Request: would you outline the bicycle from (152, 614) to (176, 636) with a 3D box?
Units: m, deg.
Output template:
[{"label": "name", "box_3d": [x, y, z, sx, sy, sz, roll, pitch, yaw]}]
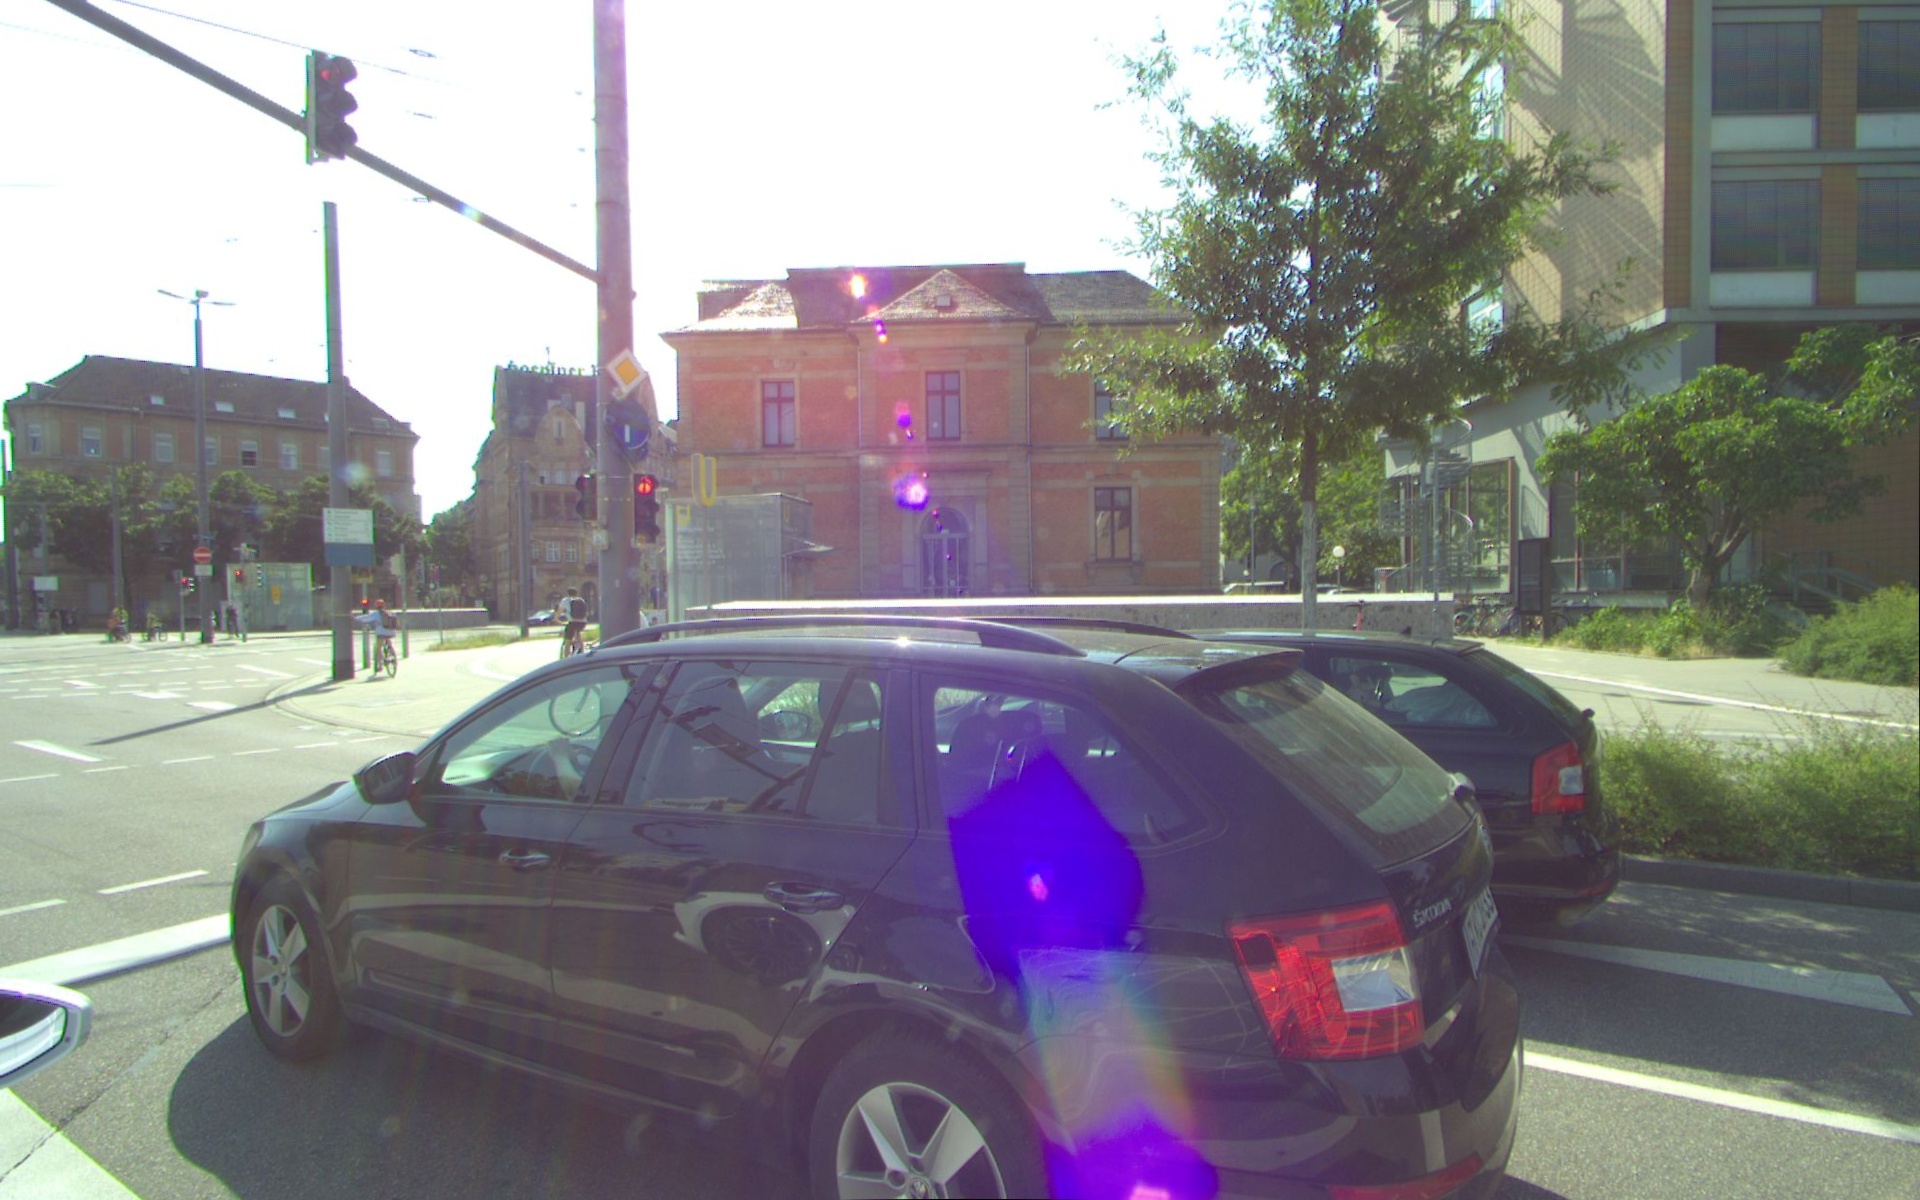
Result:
[{"label": "bicycle", "box_3d": [-41.390, 1.301, 52.093, 0.919, 1.083, 2.819, 1, -1, -38]}]

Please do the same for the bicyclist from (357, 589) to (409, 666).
[{"label": "bicyclist", "box_3d": [-13.212, 0.612, 22.939, 0.864, 1.692, 0.710, 0, 3, 40]}]

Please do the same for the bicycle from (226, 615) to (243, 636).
[{"label": "bicycle", "box_3d": [-39.117, 1.352, 53.996, 0.660, 1.083, 2.447, 1, -1, -35]}]

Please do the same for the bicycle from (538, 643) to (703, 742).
[{"label": "bicycle", "box_3d": [-4.302, 1.142, 12.714, 1.887, 1.029, 0.714, -3, 2, -24]}]

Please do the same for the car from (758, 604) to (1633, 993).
[{"label": "car", "box_3d": [1.094, 0.792, 5.619, 4.332, 1.447, 1.699, 0, -3, 31]}]

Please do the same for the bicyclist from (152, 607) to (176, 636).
[{"label": "bicyclist", "box_3d": [-41.214, 1.101, 51.844, 0.919, 1.470, 1.242, 1, -1, -38]}]

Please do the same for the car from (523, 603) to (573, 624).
[{"label": "car", "box_3d": [-31.899, 1.055, 77.634, 1.607, 1.604, 3.998, -1, -1, 10]}]

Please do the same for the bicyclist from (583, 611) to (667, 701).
[{"label": "bicyclist", "box_3d": [-4.260, 0.691, 12.729, 0.901, 1.043, 0.714, -3, 2, -24]}]

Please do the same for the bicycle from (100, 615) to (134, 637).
[{"label": "bicycle", "box_3d": [-41.935, 1.319, 49.810, 2.717, 1.083, 0.922, -2, -2, 42]}]

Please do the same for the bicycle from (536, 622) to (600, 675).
[{"label": "bicycle", "box_3d": [-8.281, 1.007, 21.108, 0.708, 1.028, 2.006, -2, -1, -37]}]

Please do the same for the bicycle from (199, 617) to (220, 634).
[{"label": "bicycle", "box_3d": [-39.849, 1.331, 53.164, 1.567, 0.877, 0.498, 0, -1, 38]}]

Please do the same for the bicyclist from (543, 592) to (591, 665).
[{"label": "bicyclist", "box_3d": [-8.299, 0.607, 21.142, 0.708, 1.507, 0.943, 1, -2, -37]}]

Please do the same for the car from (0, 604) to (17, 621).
[{"label": "car", "box_3d": [-117.101, 1.497, 122.781, 2.094, 2.040, 3.962, -1, 0, -43]}]

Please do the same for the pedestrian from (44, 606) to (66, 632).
[{"label": "pedestrian", "box_3d": [-51.220, 1.060, 56.662, 0.699, 1.451, 0.614, 0, -1, -5]}]

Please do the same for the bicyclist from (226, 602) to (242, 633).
[{"label": "bicyclist", "box_3d": [-39.046, 0.931, 53.895, 0.660, 1.645, 0.777, 1, 0, -35]}]

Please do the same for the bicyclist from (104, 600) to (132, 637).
[{"label": "bicyclist", "box_3d": [-41.859, 0.928, 49.762, 1.040, 1.843, 0.922, -1, -2, 42]}]

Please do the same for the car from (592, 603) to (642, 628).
[{"label": "car", "box_3d": [-19.242, 0.827, 56.346, 1.639, 1.331, 3.452, -1, 0, -1]}]

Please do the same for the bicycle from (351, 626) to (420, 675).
[{"label": "bicycle", "box_3d": [-13.196, 1.129, 22.974, 1.997, 1.029, 0.710, -1, 3, 41]}]

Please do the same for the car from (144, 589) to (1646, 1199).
[{"label": "car", "box_3d": [-0.672, 0.773, 3.285, 4.710, 1.454, 1.628, -1, -1, 31]}]
